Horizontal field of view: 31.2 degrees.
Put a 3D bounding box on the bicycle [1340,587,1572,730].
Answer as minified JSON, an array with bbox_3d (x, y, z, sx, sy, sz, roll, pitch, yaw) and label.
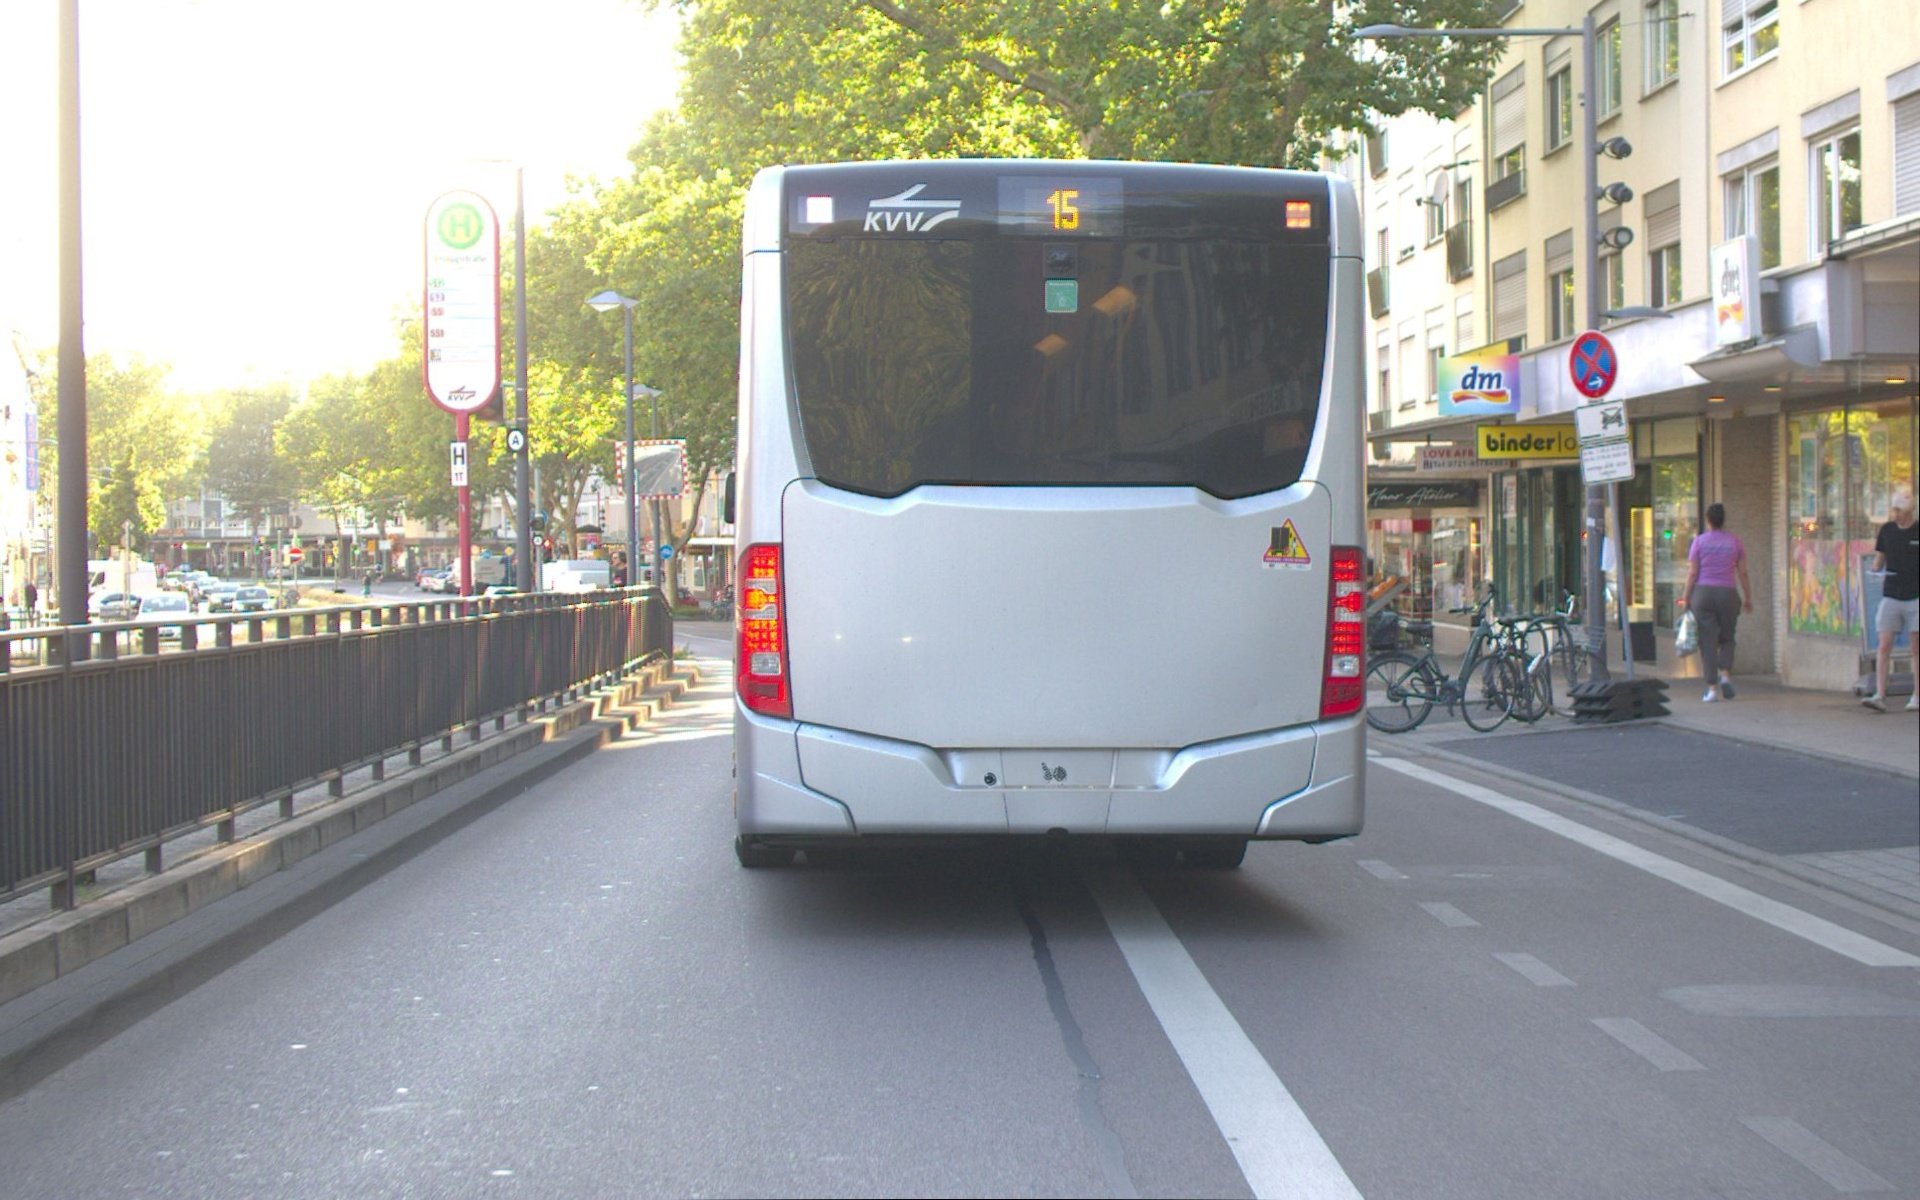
[{"bbox_3d":[4.389,0.513,30.494,1.887,1.073,0.754,-5,1,3],"label":"bicycle"}]

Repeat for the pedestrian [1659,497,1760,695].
[{"bbox_3d":[6.910,-0.039,31.724,0.723,1.789,0.766,-1,1,-1],"label":"pedestrian"}]

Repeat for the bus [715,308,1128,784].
[{"bbox_3d":[-0.557,-0.437,27.061,2.696,3.107,9.071,0,1,-4],"label":"bus"}]

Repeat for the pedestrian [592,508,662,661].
[{"bbox_3d":[-5.605,-0.262,57.907,0.889,2.537,1.163,-1,1,6],"label":"pedestrian"}]

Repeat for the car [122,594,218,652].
[{"bbox_3d":[-23.852,0.676,103.977,1.993,1.645,4.000,-1,1,-1],"label":"car"}]

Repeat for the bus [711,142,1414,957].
[{"bbox_3d":[0.081,-0.280,17.875,2.696,3.107,9.383,0,1,-4],"label":"bus"}]

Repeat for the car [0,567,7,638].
[{"bbox_3d":[-23.108,0.099,77.732,1.993,1.645,4.000,-1,1,-1],"label":"car"}]

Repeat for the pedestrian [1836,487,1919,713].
[{"bbox_3d":[7.669,-0.011,28.047,0.723,1.789,0.766,-4,1,-1],"label":"pedestrian"}]

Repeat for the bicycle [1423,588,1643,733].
[{"bbox_3d":[4.931,0.516,29.594,1.703,1.073,0.592,-6,1,-17],"label":"bicycle"}]
